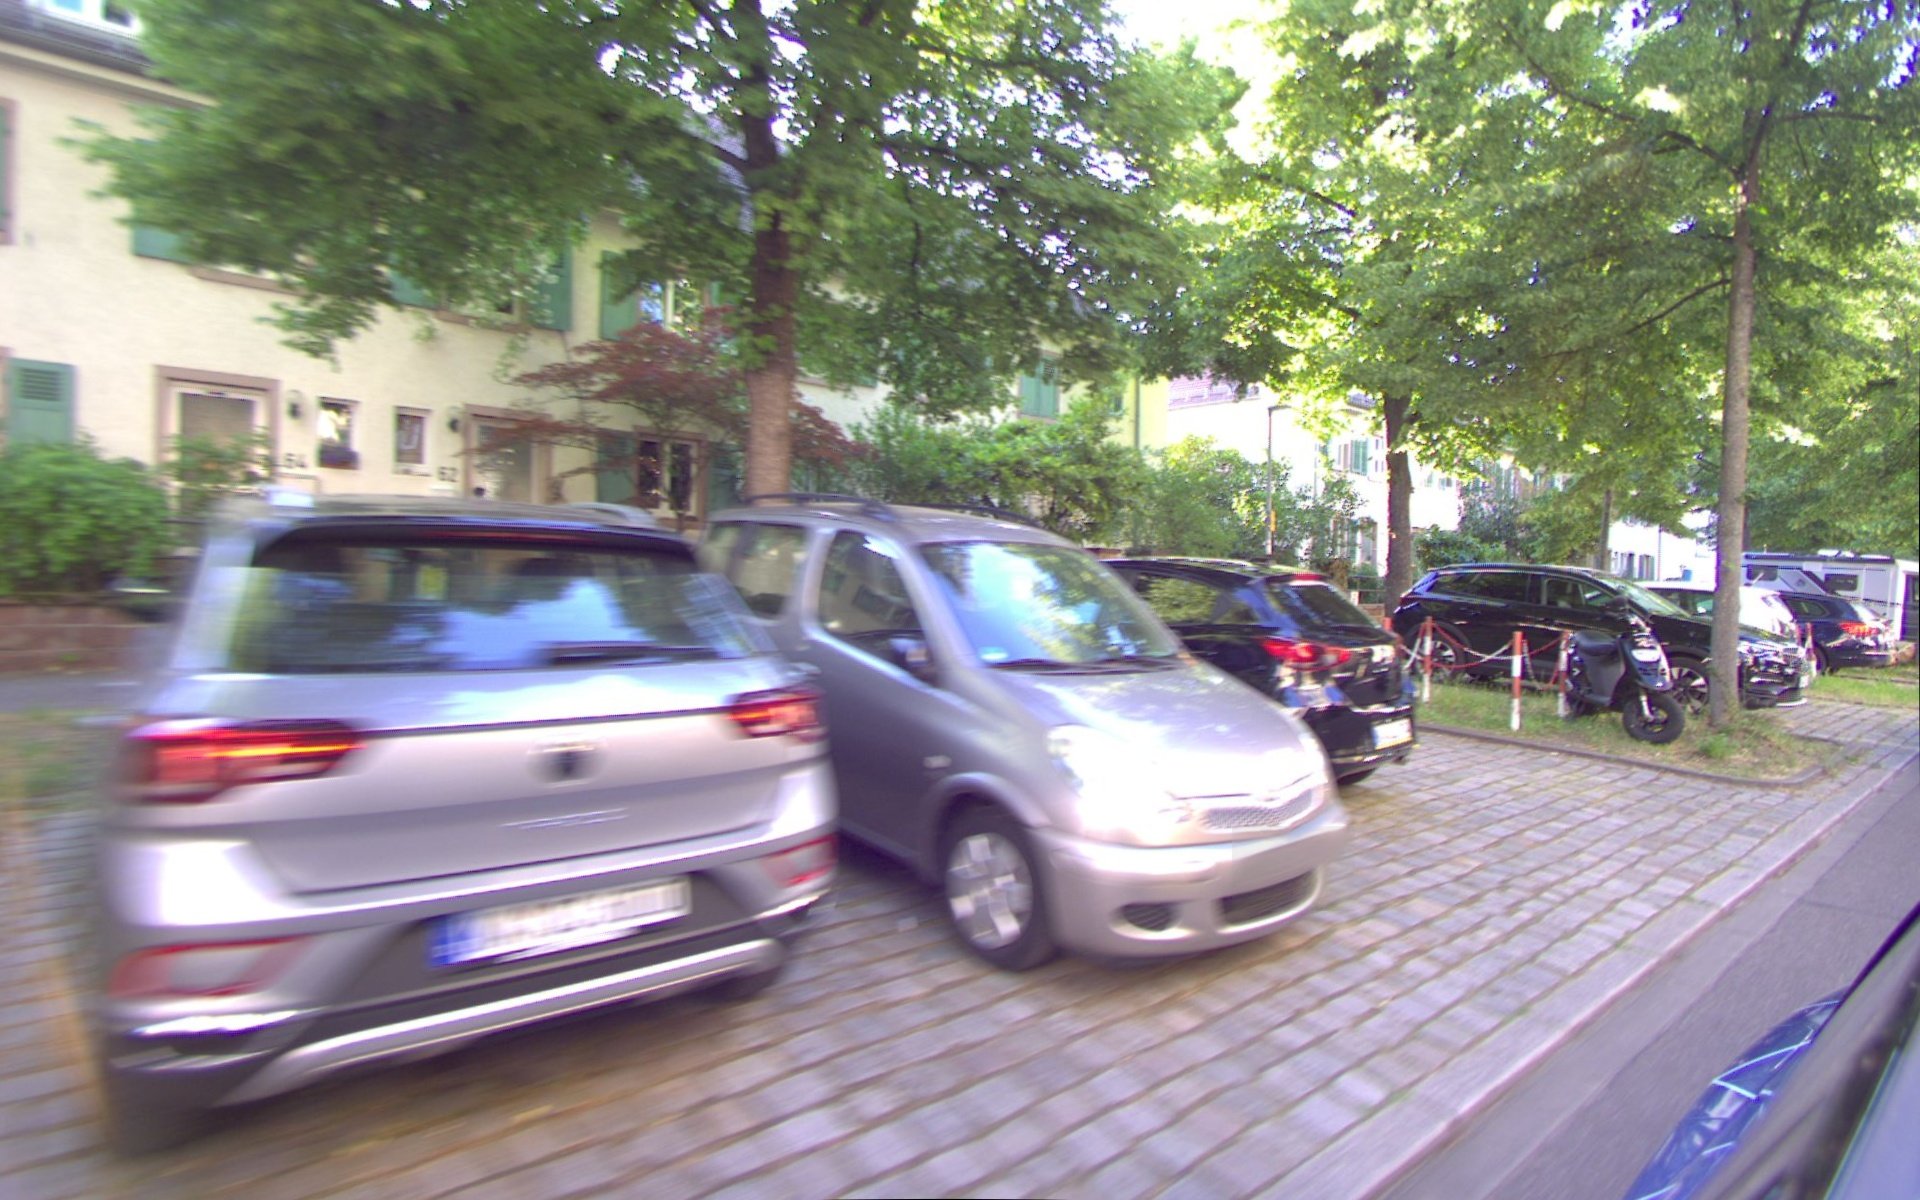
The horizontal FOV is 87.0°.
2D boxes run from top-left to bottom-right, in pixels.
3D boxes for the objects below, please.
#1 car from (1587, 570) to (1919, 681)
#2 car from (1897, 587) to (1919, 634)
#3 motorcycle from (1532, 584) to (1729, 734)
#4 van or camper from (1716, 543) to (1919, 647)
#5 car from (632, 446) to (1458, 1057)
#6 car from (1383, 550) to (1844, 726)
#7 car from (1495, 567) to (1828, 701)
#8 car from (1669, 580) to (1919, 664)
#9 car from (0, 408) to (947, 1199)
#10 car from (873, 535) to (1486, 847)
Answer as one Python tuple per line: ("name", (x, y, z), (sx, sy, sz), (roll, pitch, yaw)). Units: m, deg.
("car", (14.147, 0.350, 18.244), (1.721, 1.495, 4.471), (0, 4, -39))
("car", (39.952, 0.498, 40.025), (1.964, 1.837, 3.996), (0, 2, -40))
("motorcycle", (6.131, 0.481, 9.386), (0.725, 1.212, 1.774), (2, 2, 5))
("van or camper", (27.178, -0.207, 29.965), (2.385, 2.939, 7.264), (-1, 3, -40))
("car", (0.010, 0.276, 4.948), (1.699, 1.765, 3.925), (0, 5, -40))
("car", (7.763, 0.290, 12.393), (1.895, 1.627, 4.342), (-1, 4, -41))
("car", (9.652, 0.373, 14.112), (1.663, 1.493, 3.456), (0, 3, -40))
("car", (18.137, 0.399, 22.117), (1.967, 1.537, 3.992), (-1, 3, -43))
("car", (-2.004, 0.320, 3.774), (1.868, 1.617, 3.976), (0, 5, -37))
("car", (1.324, 0.370, 7.183), (1.759, 1.490, 3.879), (-1, 5, -45))
